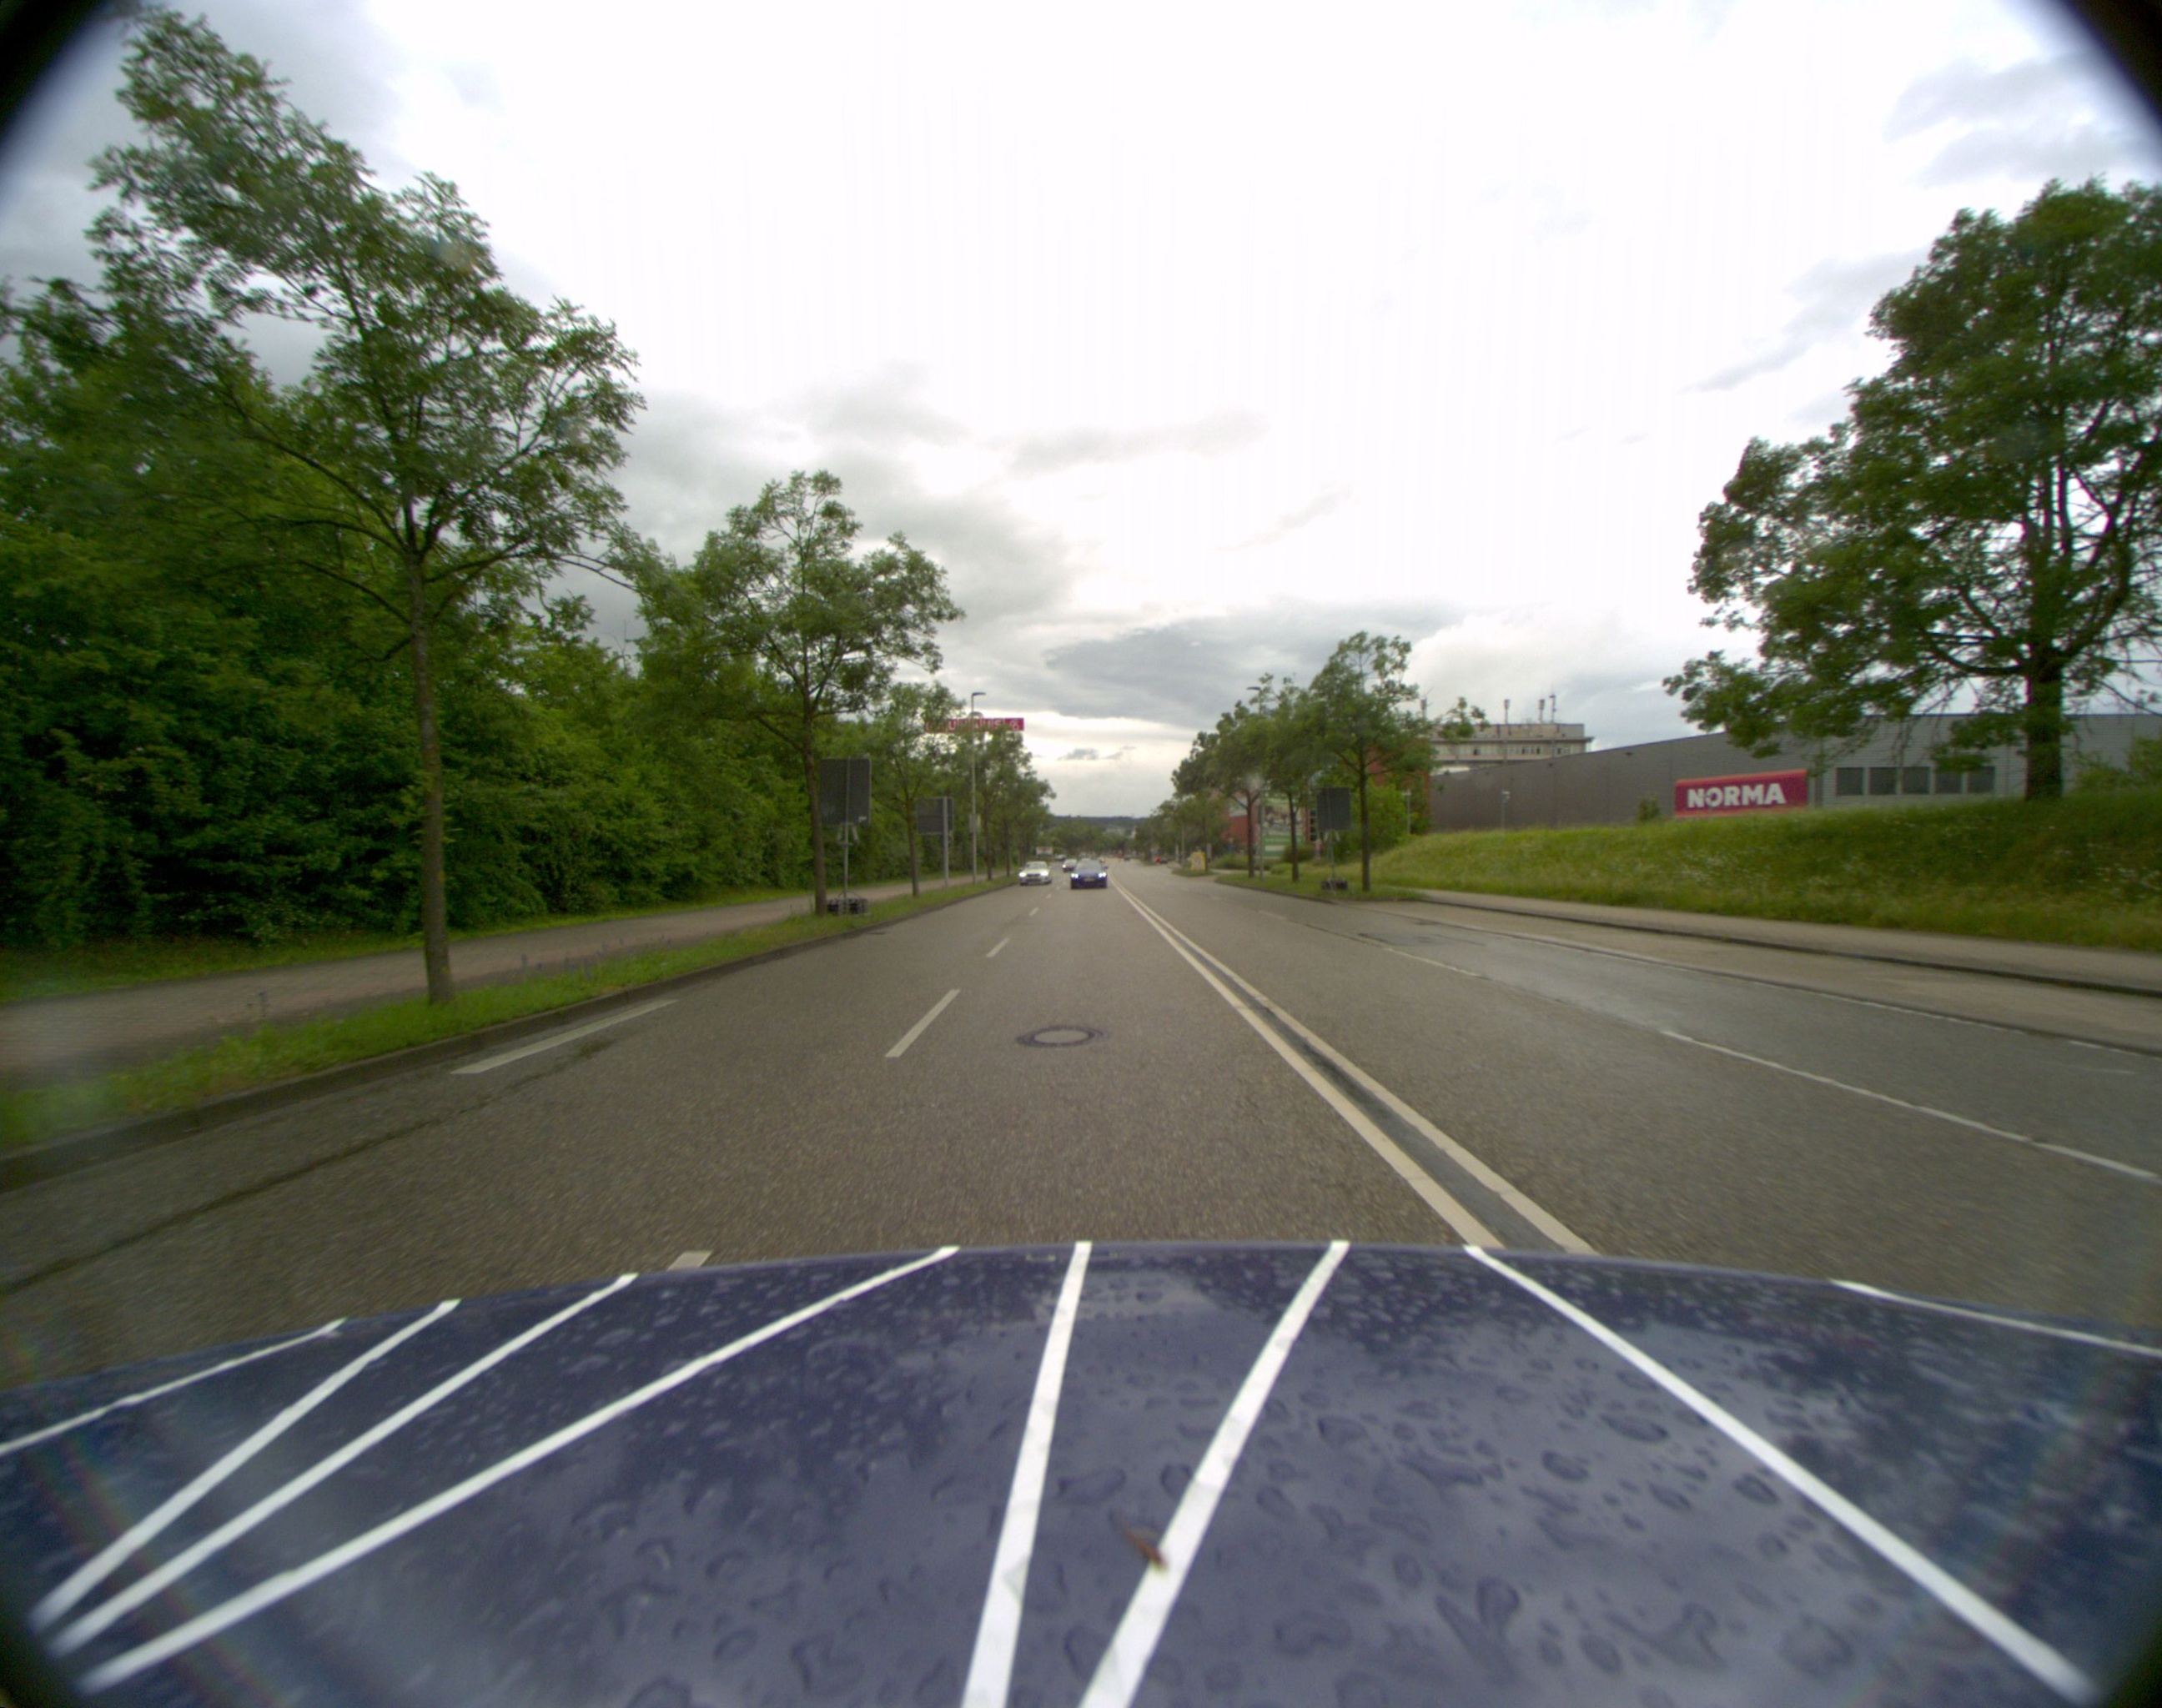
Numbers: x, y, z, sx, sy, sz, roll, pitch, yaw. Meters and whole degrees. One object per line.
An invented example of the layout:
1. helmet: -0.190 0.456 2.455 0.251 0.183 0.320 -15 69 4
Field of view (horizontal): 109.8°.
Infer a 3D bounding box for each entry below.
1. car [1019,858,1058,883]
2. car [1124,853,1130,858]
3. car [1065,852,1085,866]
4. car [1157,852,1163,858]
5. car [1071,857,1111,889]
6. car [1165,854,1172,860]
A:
1. car: -2.698 1.018 49.052 1.863 1.473 4.001 -2 0 5
2. car: 14.514 0.480 239.606 1.863 1.568 4.321 1 0 3
3. car: -0.725 0.584 92.915 2.113 1.610 4.841 -2 0 3
4. car: 21.186 0.263 203.271 1.679 1.497 4.218 0 0 5
5. car: 0.591 0.914 38.833 1.827 1.473 4.841 -2 0 3
6. car: 19.922 0.700 173.059 1.740 1.445 4.002 1 0 6
